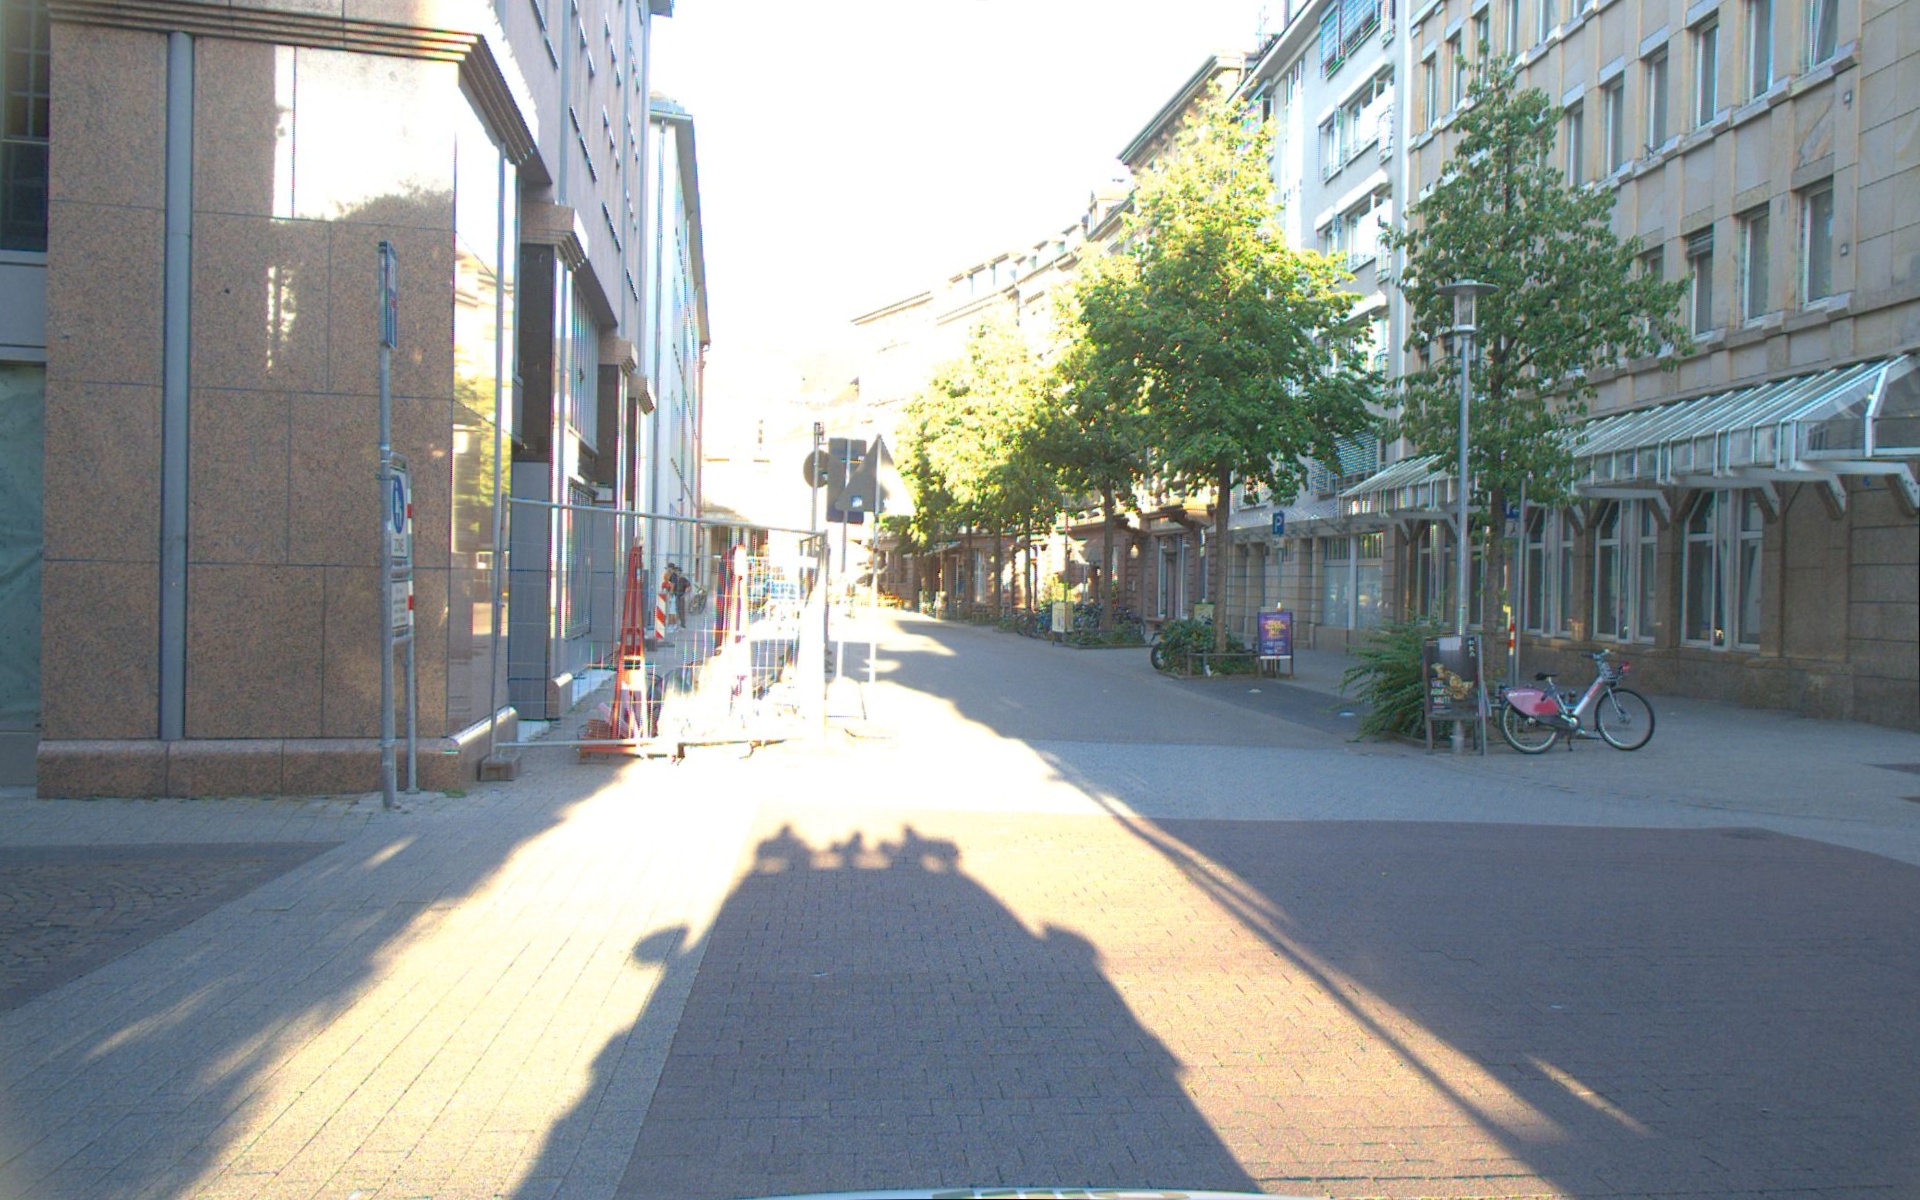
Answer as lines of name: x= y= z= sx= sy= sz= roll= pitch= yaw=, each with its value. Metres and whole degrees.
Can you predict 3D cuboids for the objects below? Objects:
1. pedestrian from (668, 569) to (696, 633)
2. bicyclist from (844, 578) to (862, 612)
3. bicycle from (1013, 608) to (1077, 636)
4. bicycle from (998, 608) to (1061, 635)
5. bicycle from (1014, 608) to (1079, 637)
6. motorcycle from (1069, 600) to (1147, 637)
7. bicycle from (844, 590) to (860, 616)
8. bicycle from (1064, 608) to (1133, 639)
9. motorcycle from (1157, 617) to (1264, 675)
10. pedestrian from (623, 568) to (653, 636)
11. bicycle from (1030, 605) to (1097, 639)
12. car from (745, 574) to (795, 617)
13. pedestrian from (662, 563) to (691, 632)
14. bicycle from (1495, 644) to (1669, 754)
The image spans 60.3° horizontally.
pedestrian: x=-7.365 y=0.033 z=43.864 sx=0.641 sy=1.680 sz=0.634 roll=1 pitch=0 yaw=-1
bicyclist: x=-4.638 y=-0.222 z=71.793 sx=0.708 sy=1.494 sz=0.716 roll=1 pitch=0 yaw=-7
bicycle: x=2.899 y=0.747 z=56.727 sx=2.115 sy=0.942 sz=0.589 roll=0 pitch=0 yaw=-13
bicycle: x=2.420 y=0.756 z=57.560 sx=2.115 sy=0.942 sz=0.589 roll=0 pitch=0 yaw=-13
bicycle: x=2.903 y=0.752 z=55.566 sx=2.115 sy=0.942 sz=0.589 roll=0 pitch=0 yaw=-13
motorcycle: x=4.518 y=0.554 z=50.432 sx=2.443 sy=1.114 sz=0.585 roll=0 pitch=-1 yaw=-28
bicycle: x=-4.698 y=0.134 z=71.906 sx=0.577 sy=1.114 sz=2.157 roll=0 pitch=0 yaw=-6
bicycle: x=4.312 y=0.723 z=51.452 sx=2.122 sy=0.942 sz=0.587 roll=0 pitch=-1 yaw=-21
motorcycle: x=5.134 y=0.946 z=33.922 sx=2.112 sy=1.171 sz=0.493 roll=0 pitch=-1 yaw=-9
pedestrian: x=-8.392 y=0.049 z=43.085 sx=0.641 sy=1.756 sz=0.634 roll=1 pitch=0 yaw=-1
bicycle: x=3.353 y=0.709 z=53.309 sx=2.107 sy=1.080 sz=0.591 roll=0 pitch=-1 yaw=9
car: x=-7.935 y=-0.200 z=68.847 sx=1.808 sy=1.713 sz=3.636 roll=0 pitch=0 yaw=-10
pedestrian: x=-7.404 y=-0.060 z=43.250 sx=0.641 sy=1.794 sz=0.634 roll=1 pitch=0 yaw=-1
bicycle: x=6.589 y=1.048 z=17.587 sx=1.620 sy=1.069 sz=0.663 roll=-2 pitch=1 yaw=13
